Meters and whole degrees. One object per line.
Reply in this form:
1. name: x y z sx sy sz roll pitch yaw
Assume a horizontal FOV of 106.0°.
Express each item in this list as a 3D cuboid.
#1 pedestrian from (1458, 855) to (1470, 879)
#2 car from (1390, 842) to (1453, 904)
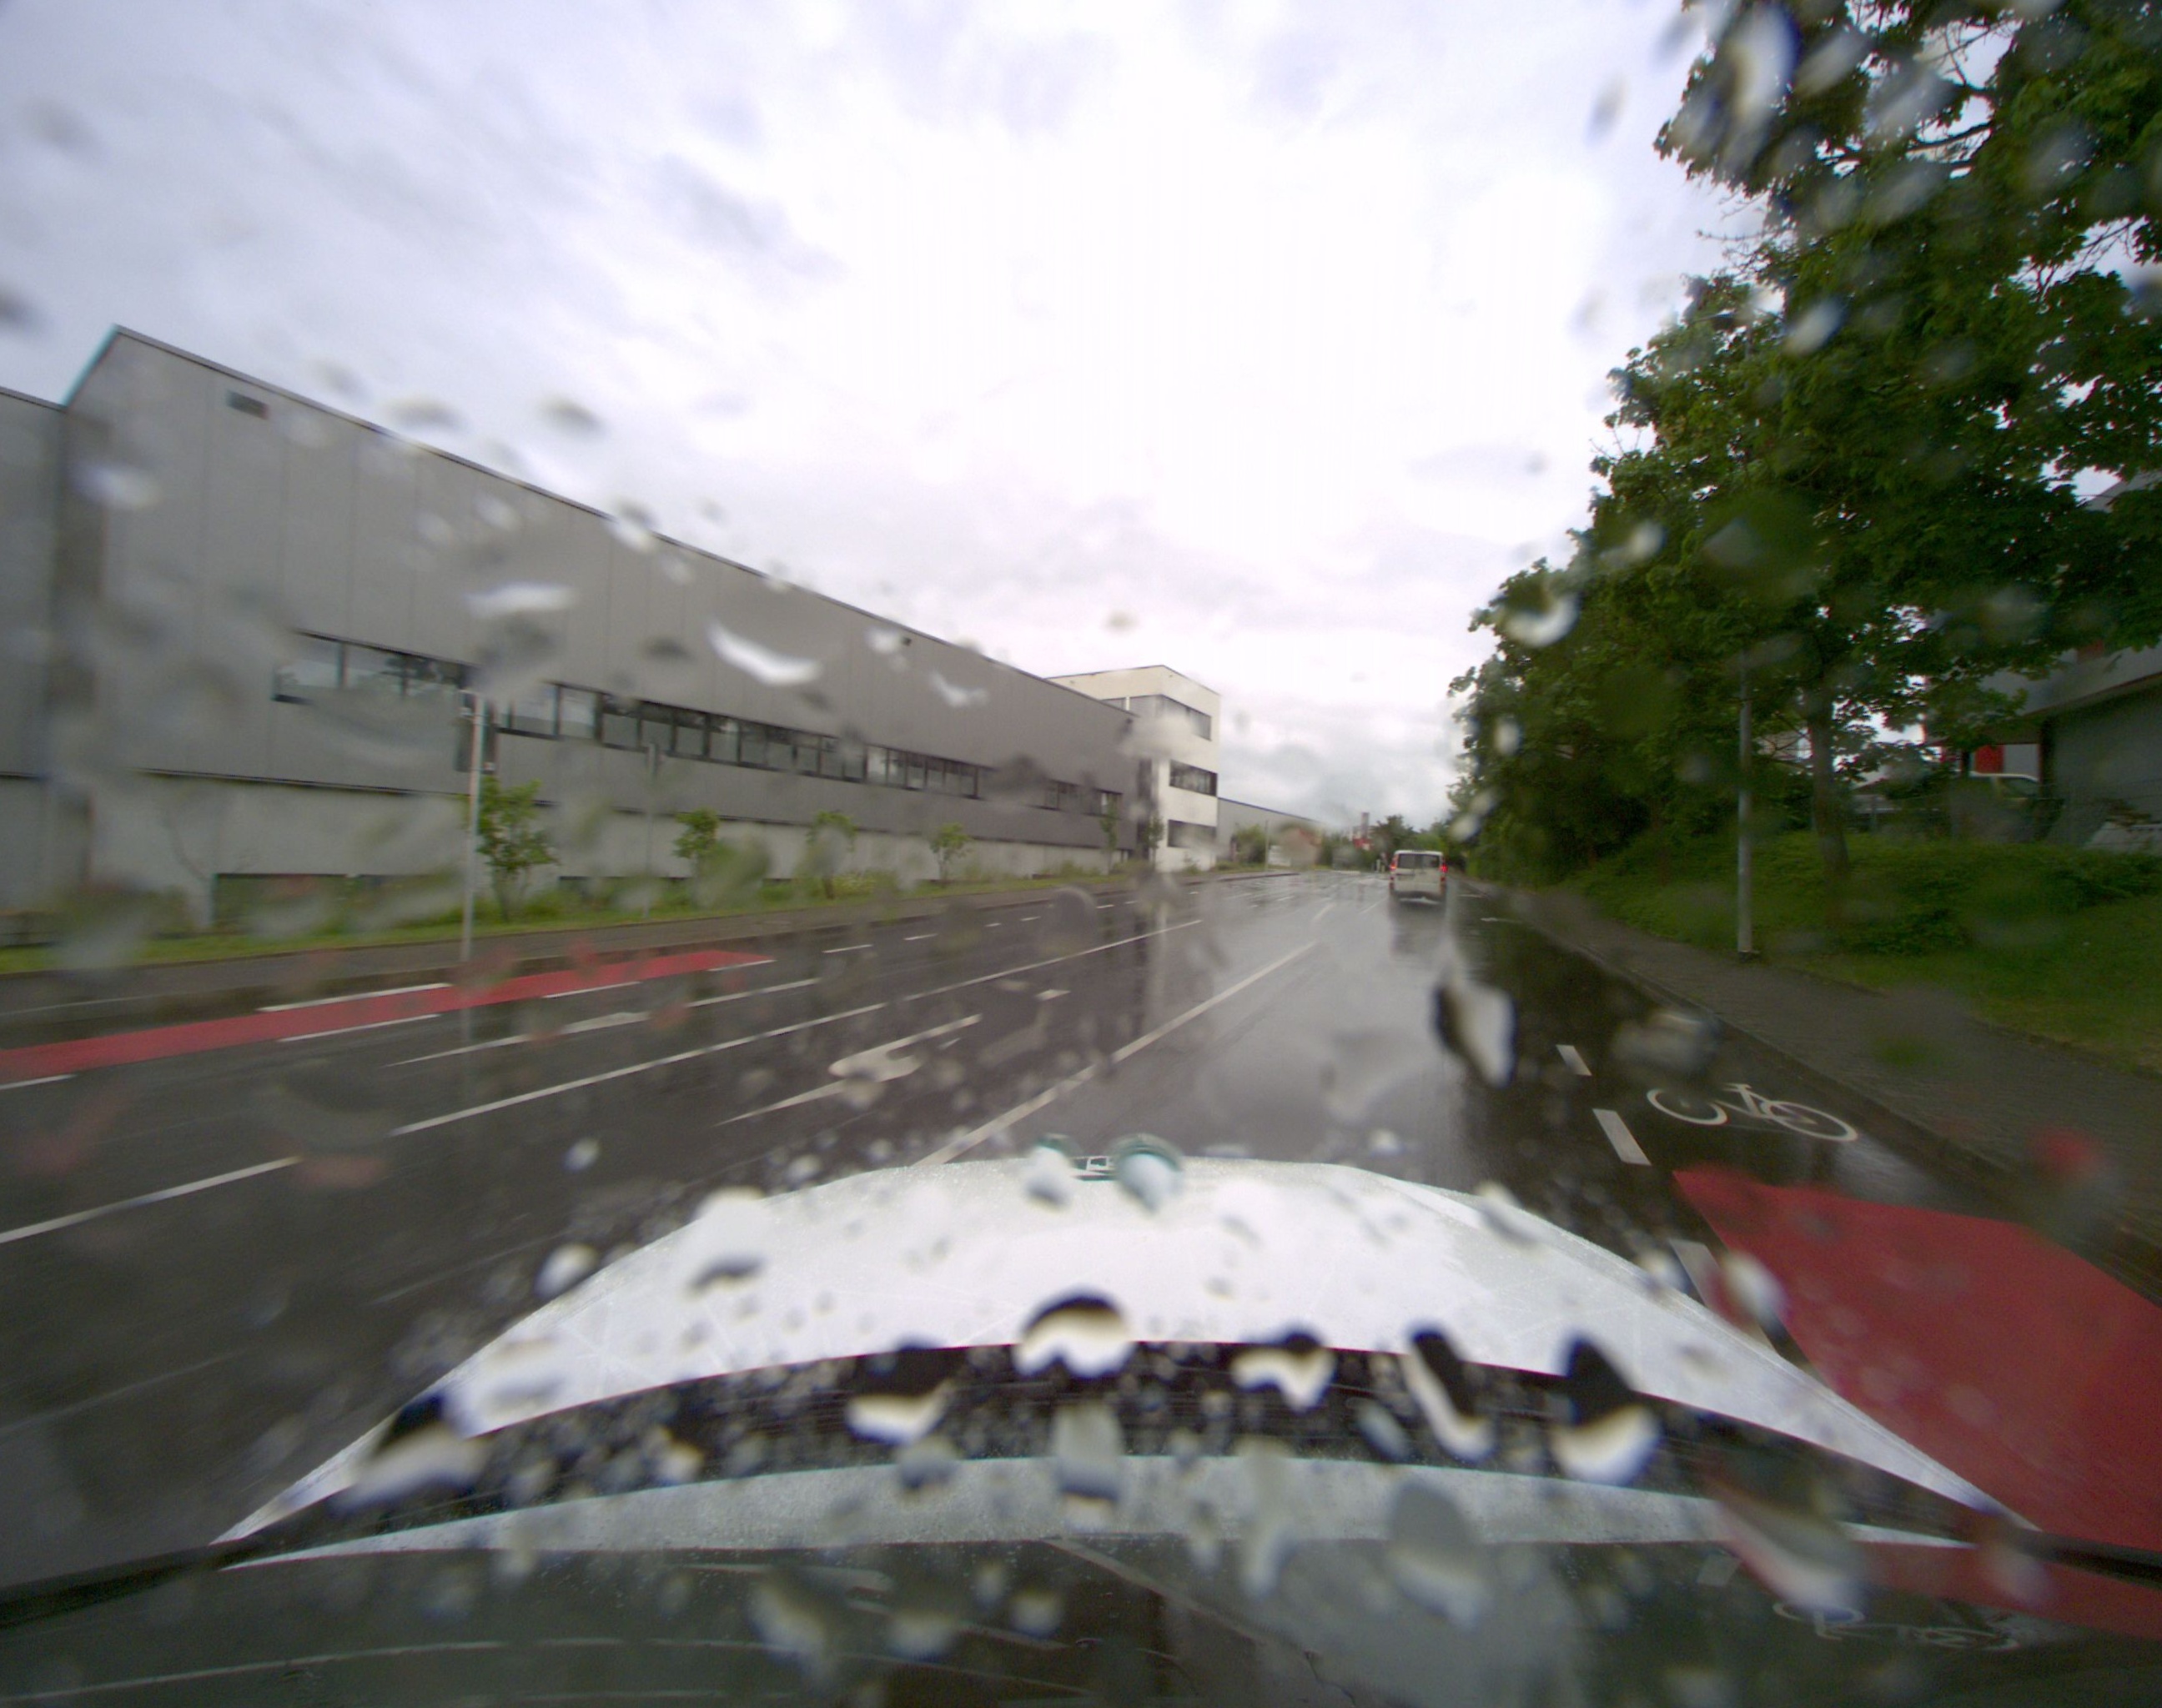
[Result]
1. pedestrian: 31.072 1.092 66.060 0.770 1.907 0.732 -2 -3 23
2. car: 12.383 0.673 29.465 1.882 2.018 5.403 -1 -1 24
